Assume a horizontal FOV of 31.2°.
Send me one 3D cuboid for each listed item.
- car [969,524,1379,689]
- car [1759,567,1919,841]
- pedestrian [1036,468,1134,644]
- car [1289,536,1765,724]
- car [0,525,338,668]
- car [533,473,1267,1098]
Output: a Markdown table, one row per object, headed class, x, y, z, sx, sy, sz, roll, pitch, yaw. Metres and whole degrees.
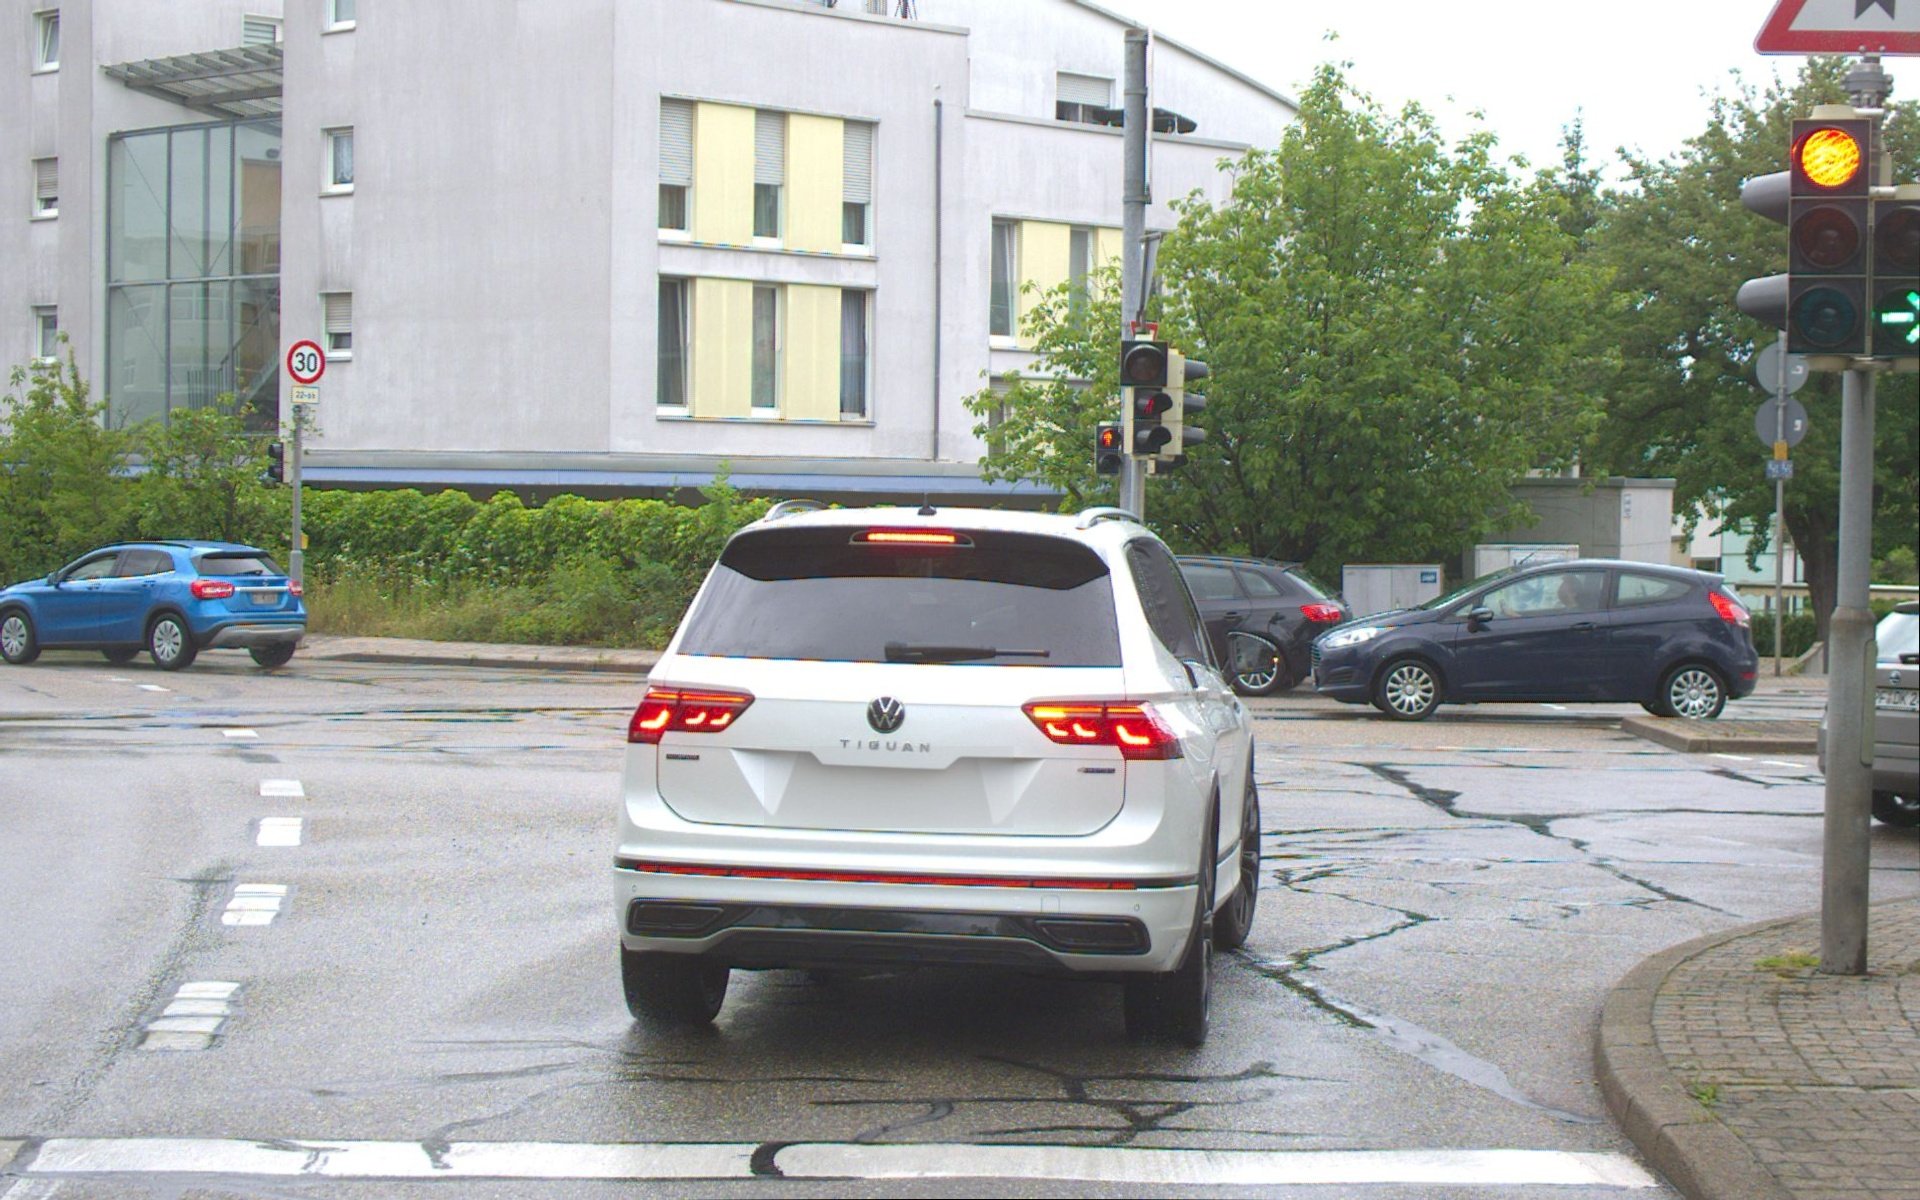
| class | x | y | z | sx | sy | sz | roll | pitch | yaw |
| --- | --- | --- | --- | --- | --- | --- | --- | --- | --- |
| car | 2.257 | 0.036 | 35.773 | 3.989 | 1.546 | 1.999 | 1 | 3 | 13 |
| car | 6.897 | 0.598 | 20.861 | 3.987 | 1.504 | 1.771 | 0 | 2 | -36 |
| pedestrian | 1.443 | -0.521 | 39.637 | 0.800 | 2.006 | 0.848 | 1 | 2 | 34 |
| car | 5.032 | 0.244 | 30.965 | 3.987 | 1.495 | 1.926 | 2 | 1 | 3 |
| car | -9.644 | -0.084 | 41.284 | 3.994 | 1.550 | 1.996 | 2 | 3 | 33 |
| car | 0.004 | 0.495 | 11.860 | 1.921 | 1.716 | 4.264 | 1 | 1 | 7 |
